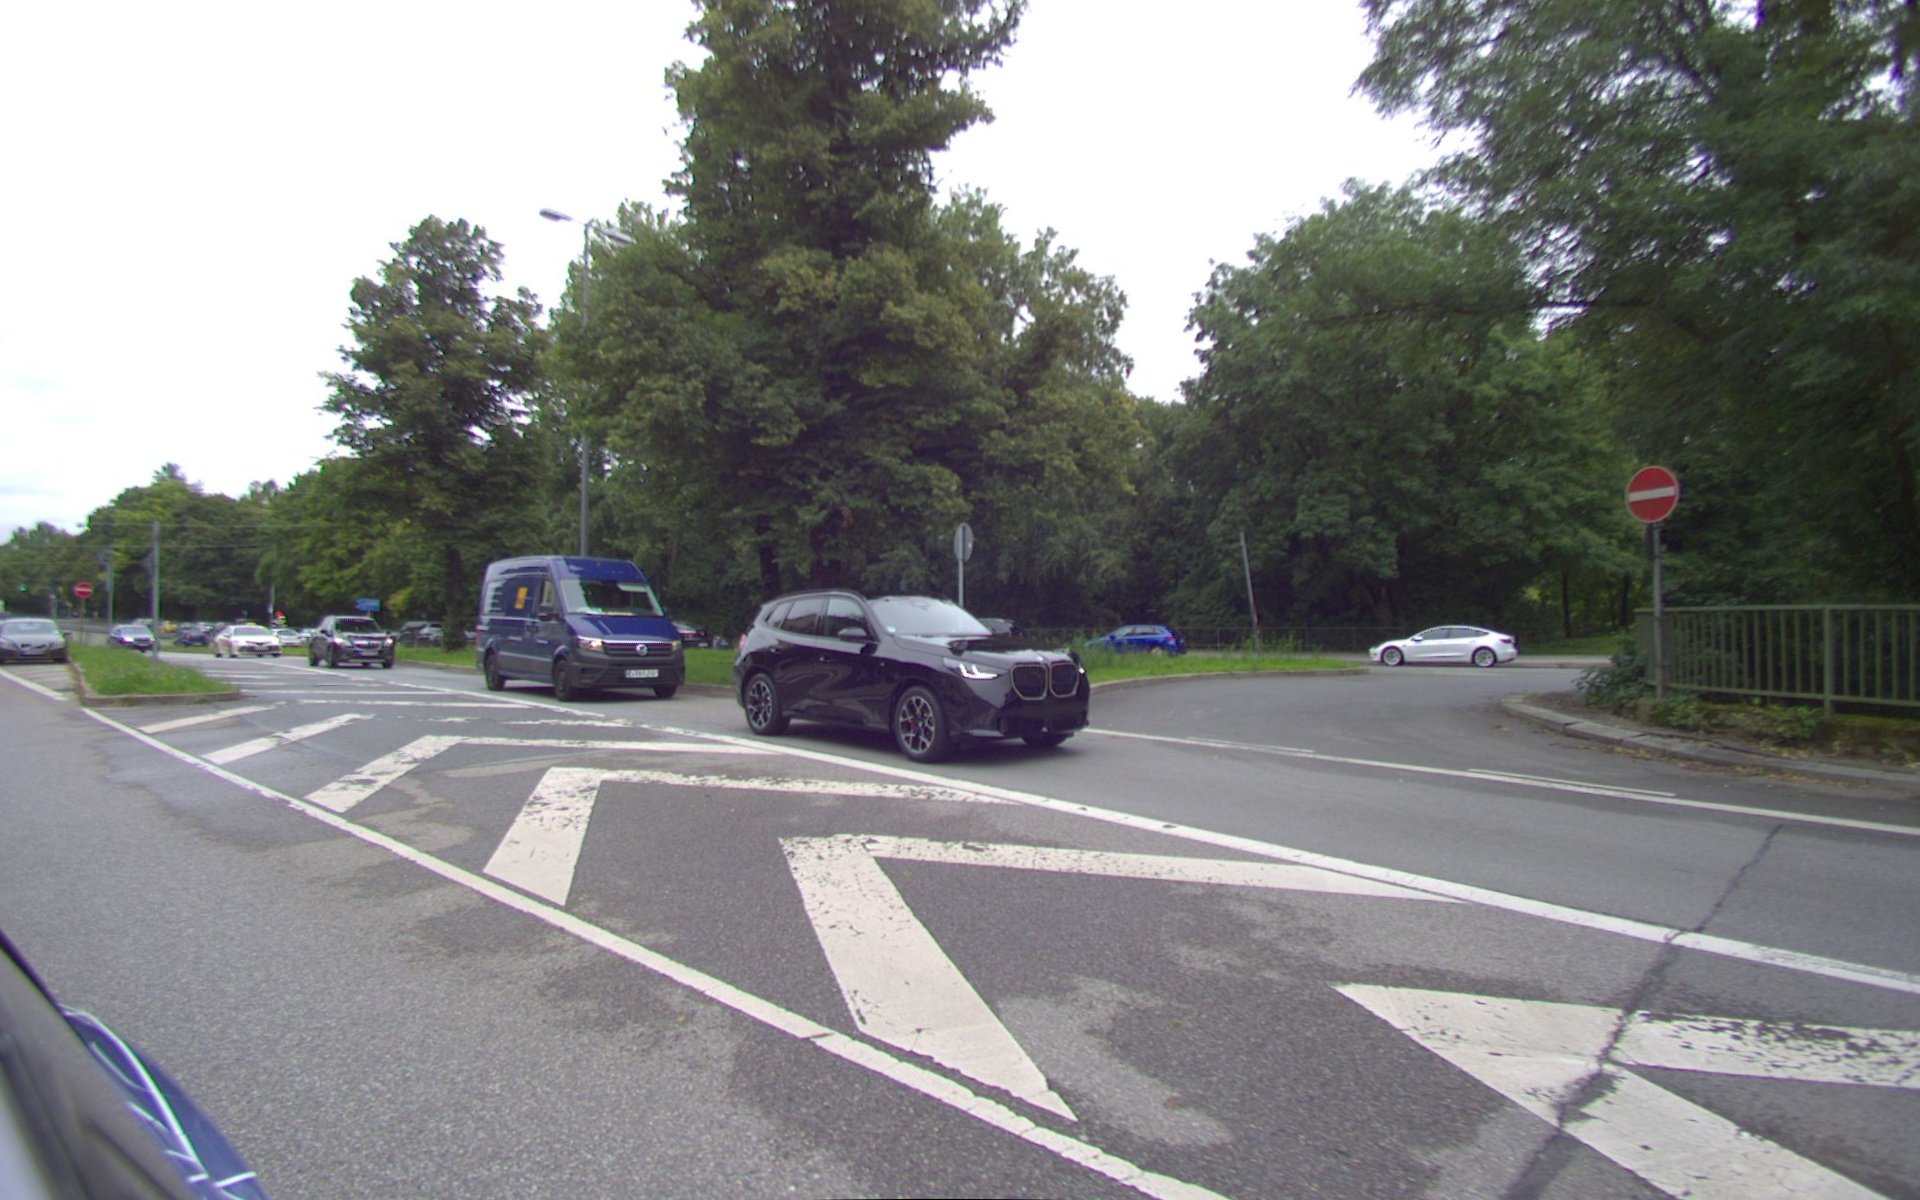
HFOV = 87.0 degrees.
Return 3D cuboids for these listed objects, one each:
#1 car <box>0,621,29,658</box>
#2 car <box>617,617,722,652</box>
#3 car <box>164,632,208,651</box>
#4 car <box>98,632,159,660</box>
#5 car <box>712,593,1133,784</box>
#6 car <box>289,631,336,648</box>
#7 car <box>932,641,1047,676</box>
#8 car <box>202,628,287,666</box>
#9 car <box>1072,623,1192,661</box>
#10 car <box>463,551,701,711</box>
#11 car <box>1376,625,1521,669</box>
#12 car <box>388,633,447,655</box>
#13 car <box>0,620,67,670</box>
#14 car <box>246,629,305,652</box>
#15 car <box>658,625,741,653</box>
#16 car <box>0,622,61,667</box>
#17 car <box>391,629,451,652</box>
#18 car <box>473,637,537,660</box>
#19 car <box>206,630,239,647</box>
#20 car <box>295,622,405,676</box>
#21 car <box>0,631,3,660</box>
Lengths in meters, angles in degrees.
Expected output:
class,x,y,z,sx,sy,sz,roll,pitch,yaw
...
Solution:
class,x,y,z,sx,sy,sz,roll,pitch,yaw
car,-42.515,1.744,44.574,4.284,1.577,1.965,-2,-3,44
car,-12.571,1.493,43.719,4.372,1.457,1.878,-1,-3,31
car,-60.606,3.243,79.240,4.030,1.457,1.872,-2,-3,40
car,-49.312,2.715,60.026,4.268,1.577,1.967,-1,-2,39
car,-0.655,0.791,10.919,1.890,1.598,4.836,0,-1,-41
car,-56.730,3.479,88.655,4.310,1.457,1.975,-1,-3,37
car,1.270,2.565,44.683,4.750,1.457,1.979,-1,-3,31
car,-31.986,2.066,45.209,4.650,1.577,1.967,-1,-2,40
car,6.998,1.703,41.247,4.405,1.457,1.980,-1,-3,30
car,-7.116,0.522,18.592,2.157,2.482,5.860,2,-1,-41
car,16.884,1.615,35.031,4.405,1.457,1.980,-1,-3,30
car,-40.125,3.245,74.816,4.698,1.546,1.975,-1,-3,37
car,-31.115,1.467,33.669,1.876,1.577,4.774,2,-3,-44
car,-45.202,2.665,66.844,4.226,1.457,1.812,-1,-3,35
car,-14.120,2.113,54.844,4.517,1.457,1.975,-1,-3,37
car,-35.205,1.643,38.004,1.964,1.577,4.286,2,-3,-44
car,-35.228,2.655,66.107,4.024,1.457,1.875,-2,-3,35
car,-30.291,3.198,67.359,4.517,1.457,1.975,-1,-3,37
car,-75.411,3.919,103.482,3.997,1.759,1.842,-1,-2,40
car,-19.783,1.553,32.769,4.273,1.640,1.965,-2,-2,43
car,-50.965,2.337,51.960,4.276,1.467,1.968,-1,-2,38
